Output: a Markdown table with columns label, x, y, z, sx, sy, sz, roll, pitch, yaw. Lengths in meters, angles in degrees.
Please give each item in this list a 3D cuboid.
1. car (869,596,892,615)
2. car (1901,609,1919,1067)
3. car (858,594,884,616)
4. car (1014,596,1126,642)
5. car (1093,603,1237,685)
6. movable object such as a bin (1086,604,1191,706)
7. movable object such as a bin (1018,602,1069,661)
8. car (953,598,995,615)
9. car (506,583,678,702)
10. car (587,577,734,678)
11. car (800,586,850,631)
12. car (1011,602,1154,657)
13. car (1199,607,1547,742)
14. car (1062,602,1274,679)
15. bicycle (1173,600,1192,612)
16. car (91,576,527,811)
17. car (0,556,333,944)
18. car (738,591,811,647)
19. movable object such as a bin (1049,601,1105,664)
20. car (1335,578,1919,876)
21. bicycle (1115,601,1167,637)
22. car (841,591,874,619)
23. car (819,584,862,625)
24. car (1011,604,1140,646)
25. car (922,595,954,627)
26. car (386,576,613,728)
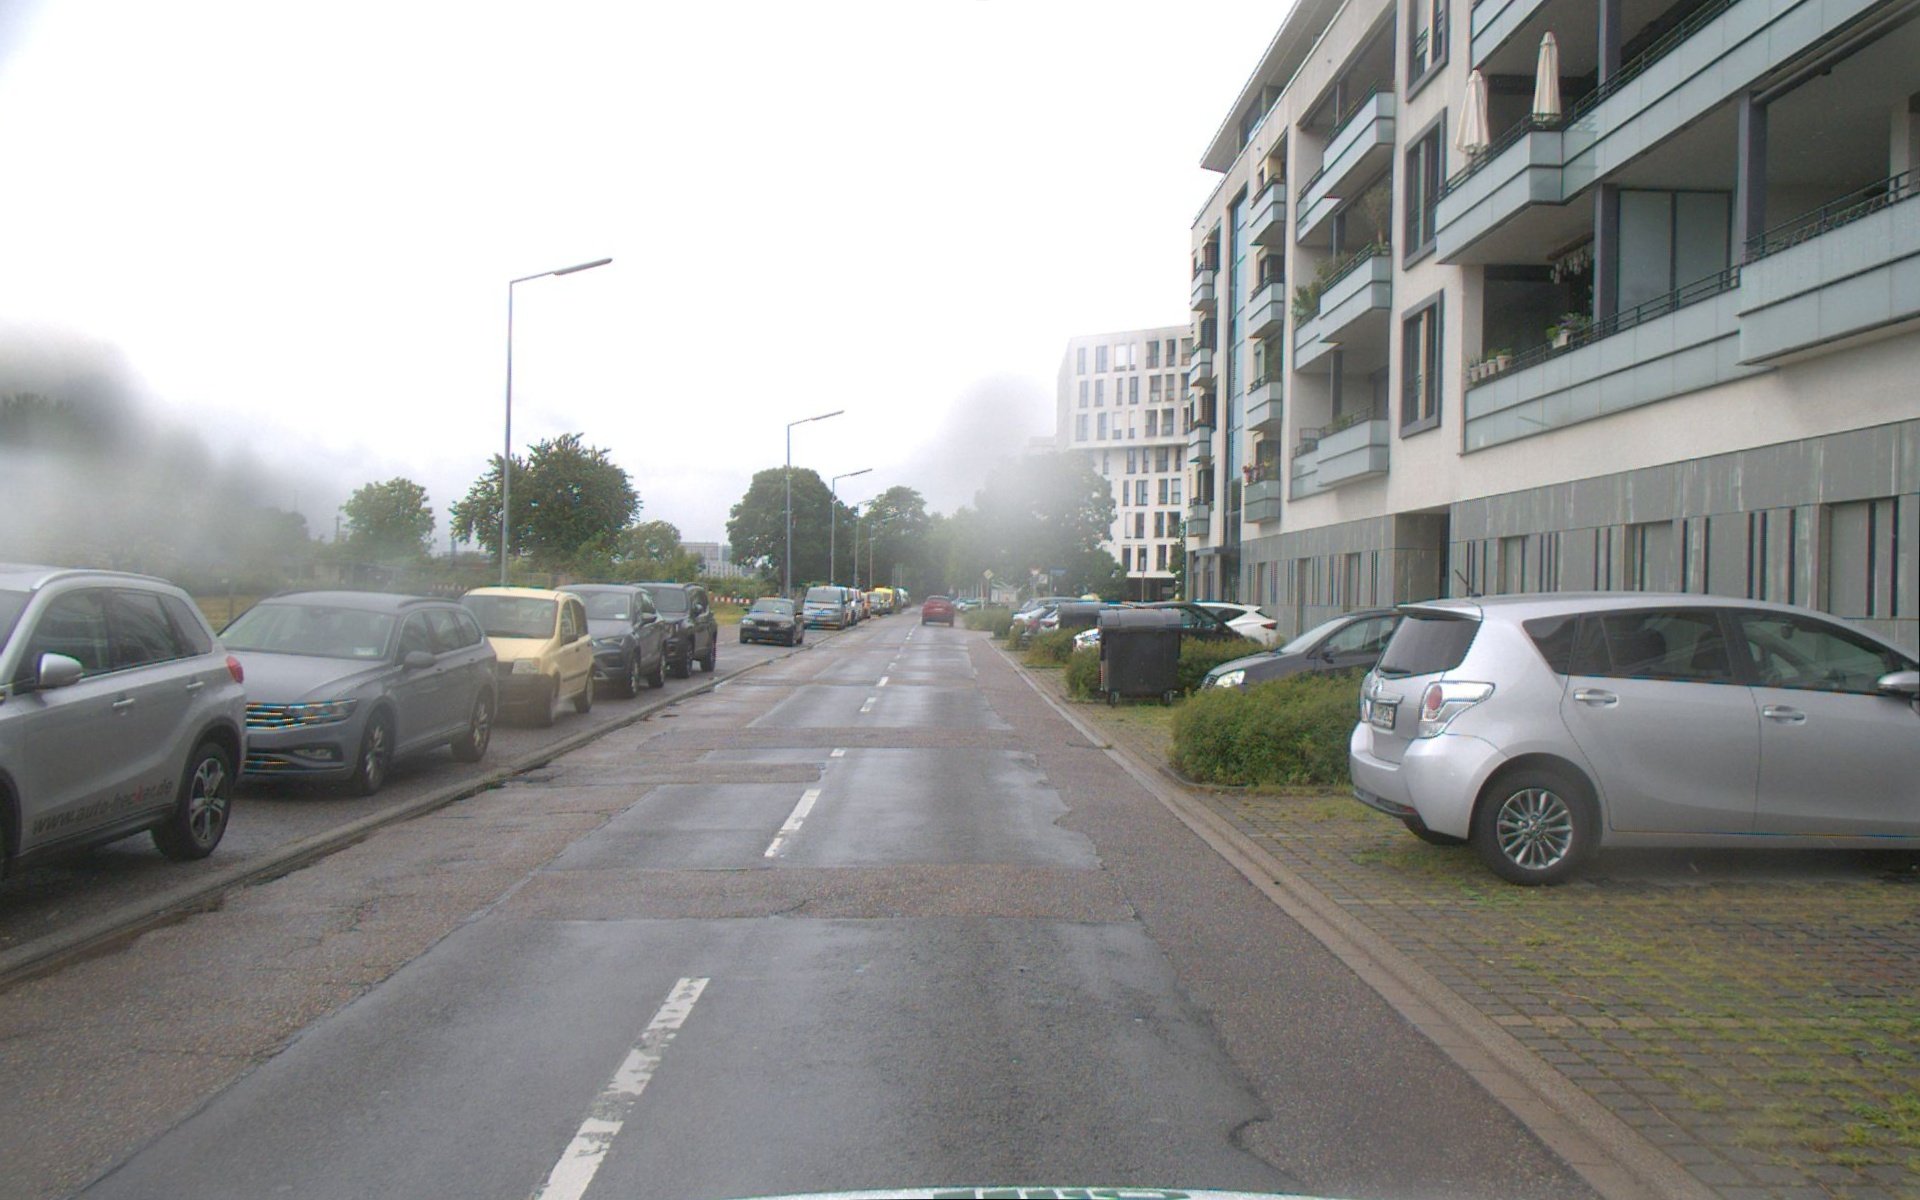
| label | x | y | z | sx | sy | sz | roll | pitch | yaw |
| --- | --- | --- | --- | --- | --- | --- | --- | --- | --- |
| car | -7.447 | 0.559 | 155.746 | 1.954 | 1.621 | 5.015 | 4 | -1 | -2 |
| car | 5.258 | 0.763 | 4.829 | 4.094 | 1.509 | 1.749 | 0 | -1 | -5 |
| car | -6.985 | 0.406 | 130.758 | 1.767 | 1.588 | 4.032 | 5 | 0 | -1 |
| car | 4.120 | 0.697 | 62.417 | 4.007 | 1.652 | 1.965 | -1 | 0 | -2 |
| car | 3.971 | 0.844 | 32.246 | 2.574 | 1.533 | 1.205 | 0 | 0 | -7 |
| movable object such as a bin | 2.746 | 0.834 | 25.632 | 1.465 | 1.519 | 1.155 | -1 | 0 | -1 |
| movable object such as a bin | 2.249 | 0.837 | 44.802 | 1.274 | 1.553 | 1.581 | 0 | 0 | -1 |
| car | 1.574 | 0.739 | 185.955 | 4.450 | 1.714 | 1.884 | -3 | 0 | -4 |
| car | -5.526 | 0.584 | 25.336 | 1.717 | 1.618 | 4.132 | 2 | 0 | -1 |
| car | -5.629 | 0.478 | 31.646 | 1.716 | 1.722 | 4.882 | 2 | 0 | 2 |
| car | -6.261 | 0.388 | 77.354 | 1.916 | 1.935 | 4.994 | 2 | 0 | -1 |
| car | 3.484 | 0.840 | 47.659 | 3.977 | 1.523 | 2.057 | 0 | 0 | -1 |
| car | 4.887 | 0.864 | 19.939 | 3.767 | 1.517 | 1.762 | 0 | 0 | 0 |
| car | 4.384 | 0.837 | 35.273 | 4.258 | 1.557 | 1.893 | 0 | 0 | -2 |
| bicycle | 19.565 | 0.548 | 145.608 | 0.711 | 1.051 | 2.063 | 1 | 0 | 38 |
| car | -5.234 | 0.682 | 14.089 | 1.800 | 1.555 | 4.669 | 4 | -1 | -1 |
| car | -5.106 | 0.619 | 8.593 | 1.816 | 1.635 | 4.987 | 5 | 0 | -2 |
| car | -5.863 | 0.589 | 52.758 | 1.810 | 1.588 | 4.151 | 4 | 0 | -1 |
| movable object such as a bin | 2.951 | 0.801 | 41.867 | 1.274 | 1.553 | 1.581 | 0 | 0 | -1 |
| car | 4.627 | 0.757 | 10.412 | 4.123 | 1.673 | 1.686 | 1 | -1 | -2 |
| bicycle | 7.965 | 0.839 | 72.751 | 2.142 | 1.549 | 0.631 | 1 | 0 | 20 |
| car | -7.011 | 0.357 | 113.786 | 1.900 | 1.798 | 4.331 | 2 | 0 | 1 |
| car | -6.538 | 0.250 | 90.949 | 1.920 | 2.094 | 5.273 | 3 | 0 | -1 |
| car | 3.971 | 0.852 | 57.515 | 4.320 | 1.429 | 1.910 | 0 | 0 | -2 |
| car | -1.288 | 0.585 | 93.807 | 1.721 | 1.735 | 3.999 | 2 | 0 | -2 |
| car | -5.486 | 0.588 | 20.223 | 1.691 | 1.602 | 4.208 | 2 | -1 | -2 |
